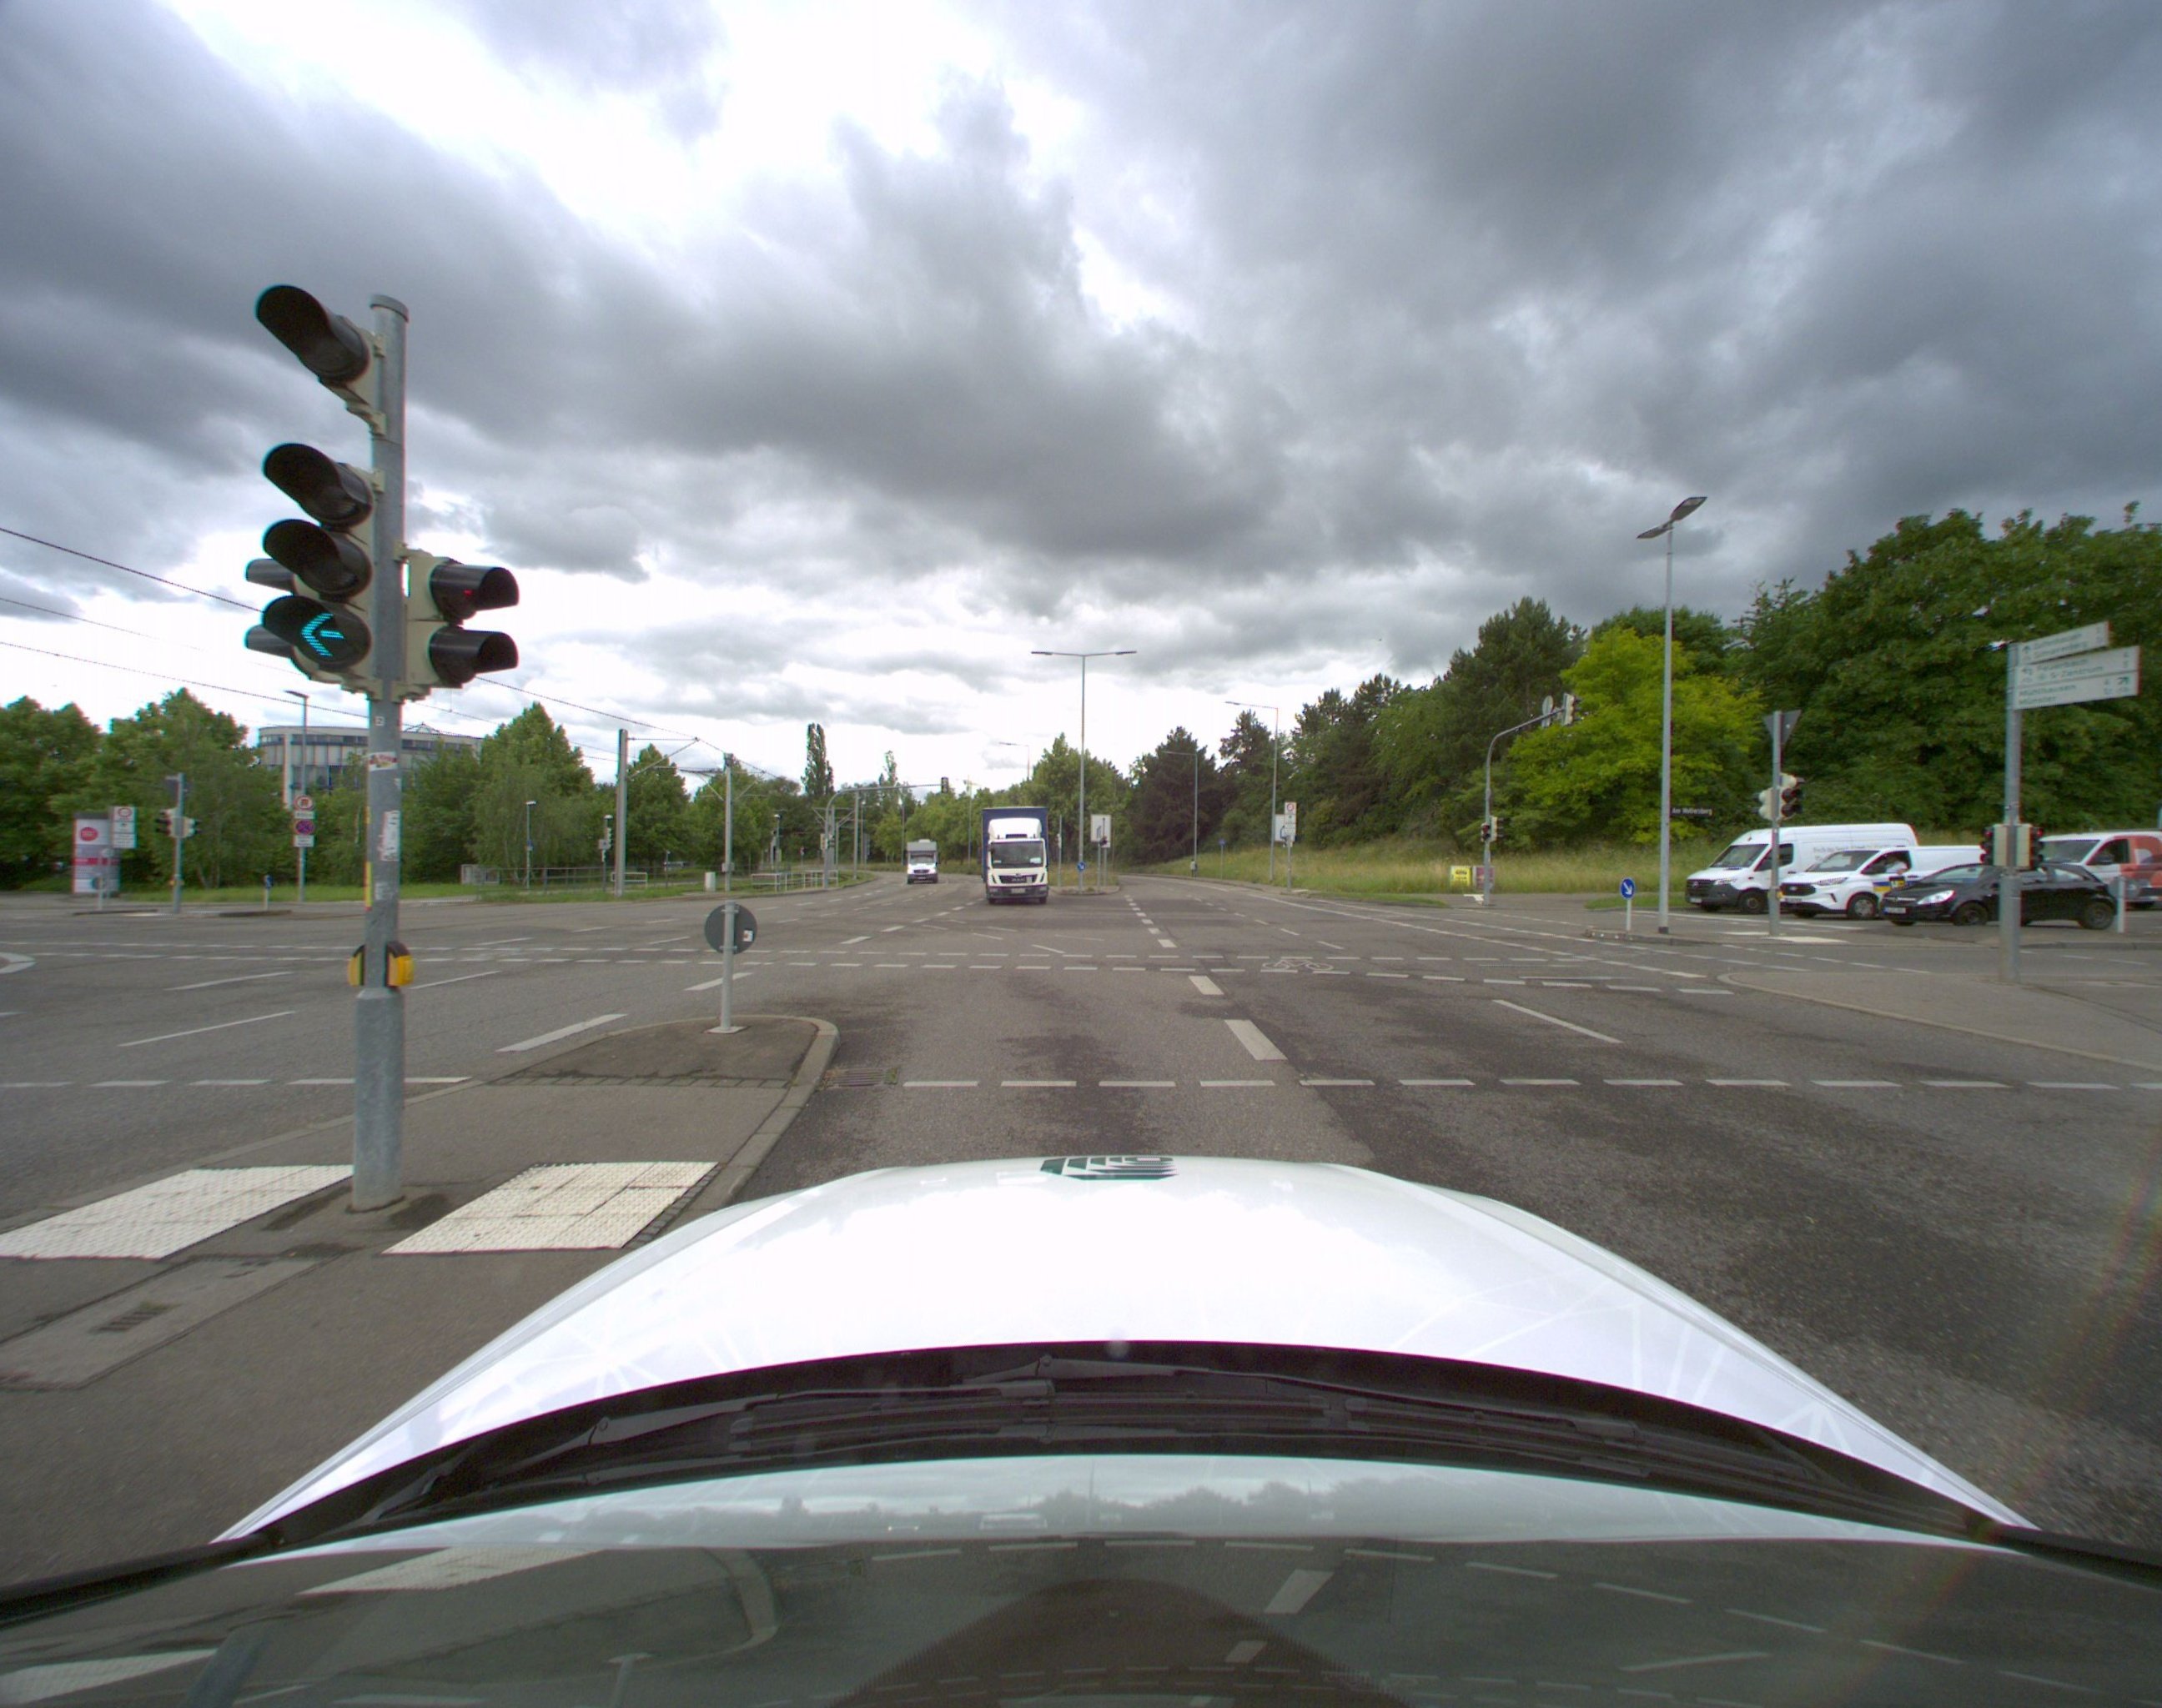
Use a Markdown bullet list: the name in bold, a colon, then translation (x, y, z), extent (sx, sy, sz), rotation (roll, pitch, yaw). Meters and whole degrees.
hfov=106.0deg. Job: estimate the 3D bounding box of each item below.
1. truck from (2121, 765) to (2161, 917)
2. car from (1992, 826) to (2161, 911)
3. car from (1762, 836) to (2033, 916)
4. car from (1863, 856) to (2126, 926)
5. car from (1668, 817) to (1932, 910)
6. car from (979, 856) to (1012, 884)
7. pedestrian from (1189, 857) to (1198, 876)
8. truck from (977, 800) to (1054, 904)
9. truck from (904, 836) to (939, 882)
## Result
- **truck**: translation (27.896, -0.355, 17.869), extent (5.915, 3.518, 3.077), rotation (-1, -2, 3)
- **car**: translation (31.204, 0.428, 23.961), extent (5.913, 2.386, 2.231), rotation (-1, -2, 4)
- **car**: translation (21.564, 0.589, 21.692), extent (4.952, 1.991, 2.121), rotation (0, -2, 2)
- **car**: translation (20.099, 0.792, 18.054), extent (3.836, 1.442, 1.638), rotation (-1, -1, 4)
- **car**: translation (21.756, 0.309, 24.884), extent (5.915, 2.659, 2.230), rotation (-1, -2, 3)
- **car**: translation (-6.385, 1.132, 60.320), extent (1.994, 2.014, 4.591), rotation (0, 0, -11)
- **pedestrian**: translation (9.951, 1.115, 72.017), extent (0.736, 1.717, 0.625), rotation (0, -1, 1)
- **truck**: translation (-2.846, -0.066, 34.069), extent (2.775, 3.804, 8.370), rotation (0, 0, -6)
- **truck**: translation (-11.231, 0.369, 57.859), extent (2.105, 3.010, 6.252), rotation (-4, 0, -10)
